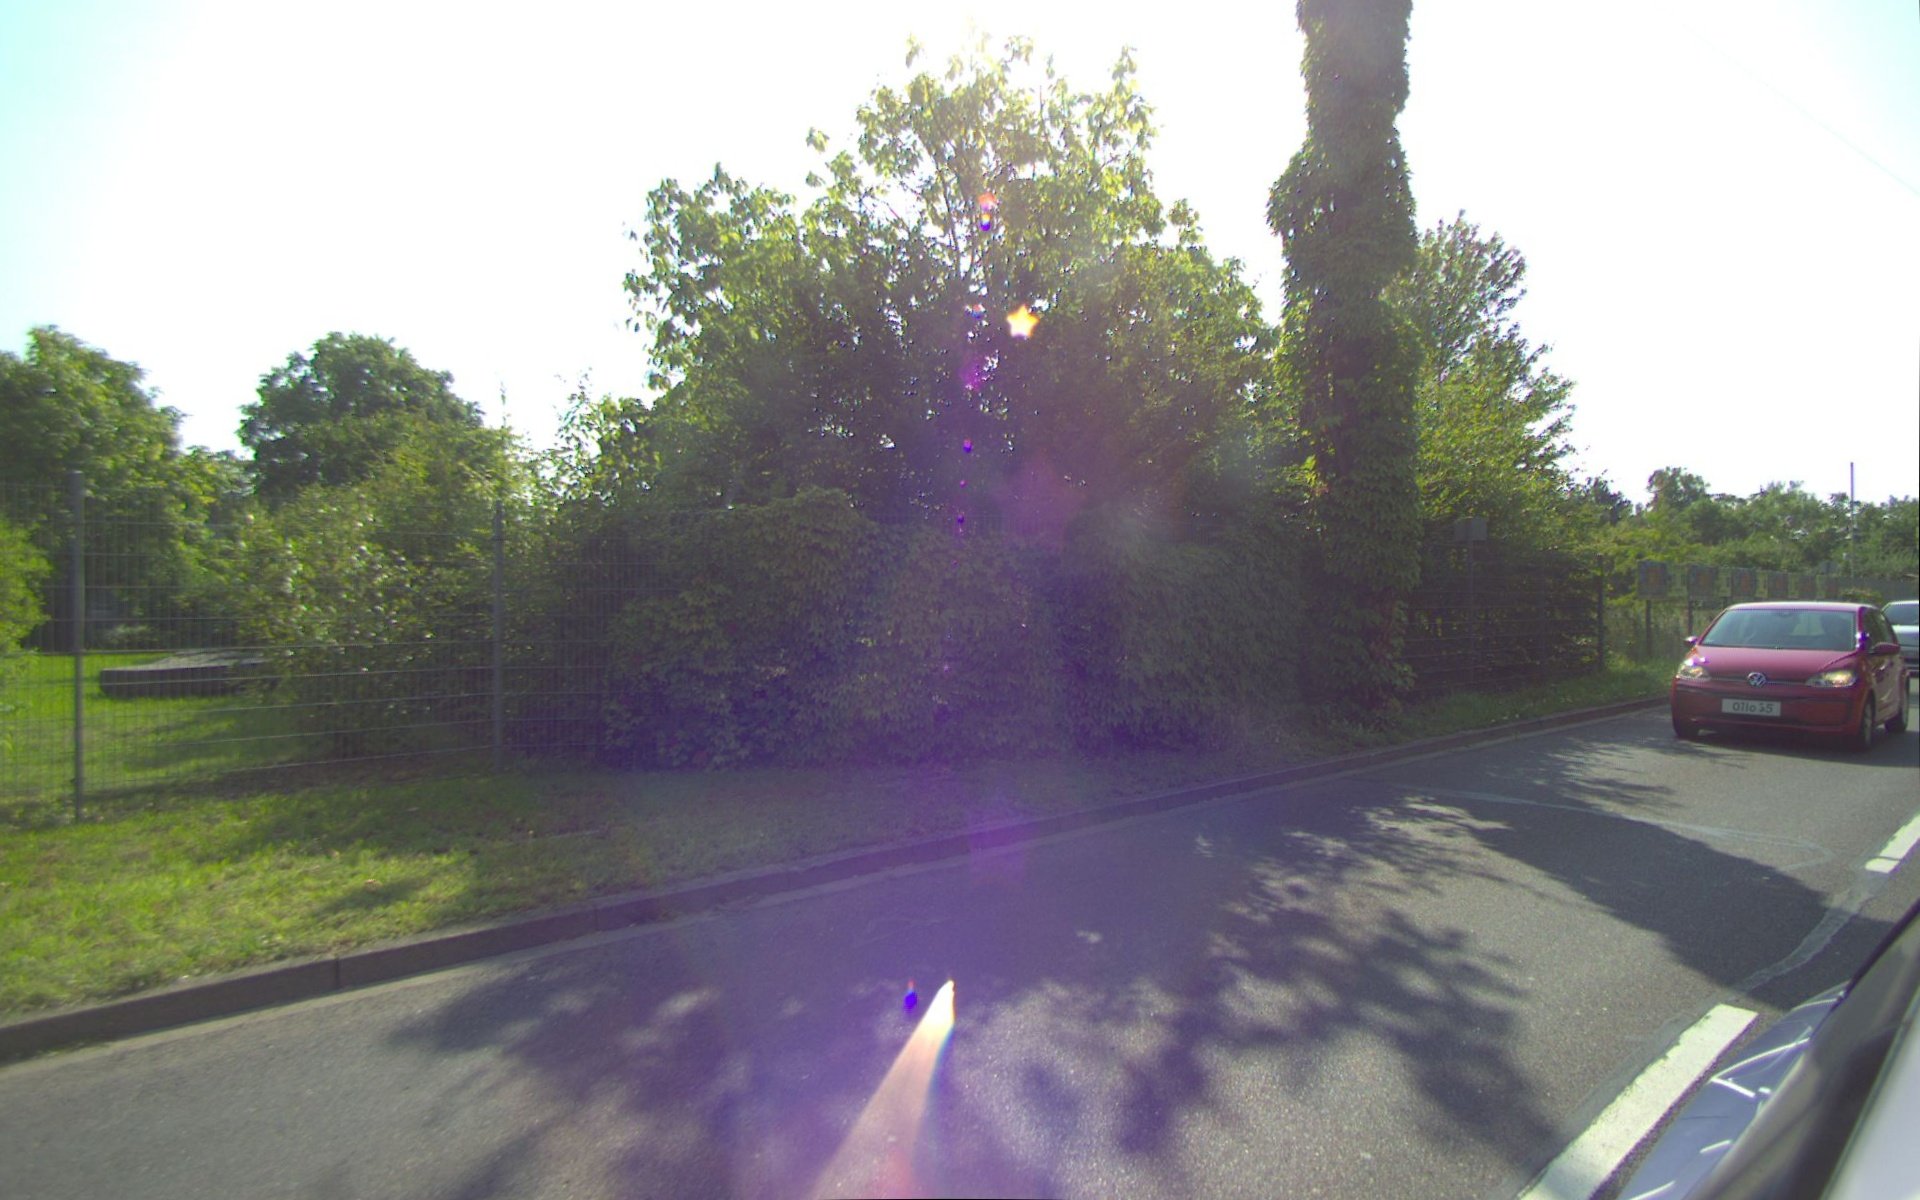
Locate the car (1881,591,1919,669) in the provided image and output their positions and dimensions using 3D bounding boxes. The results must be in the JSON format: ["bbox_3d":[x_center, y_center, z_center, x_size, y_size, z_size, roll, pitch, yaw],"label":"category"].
[{"bbox_3d":[20.102,0.571,20.552,3.831,1.494,1.647,0,-1,-42],"label":"car"}]

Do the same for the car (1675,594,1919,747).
[{"bbox_3d":[9.338,0.649,11.156,3.410,1.416,1.578,0,1,-40],"label":"car"}]
